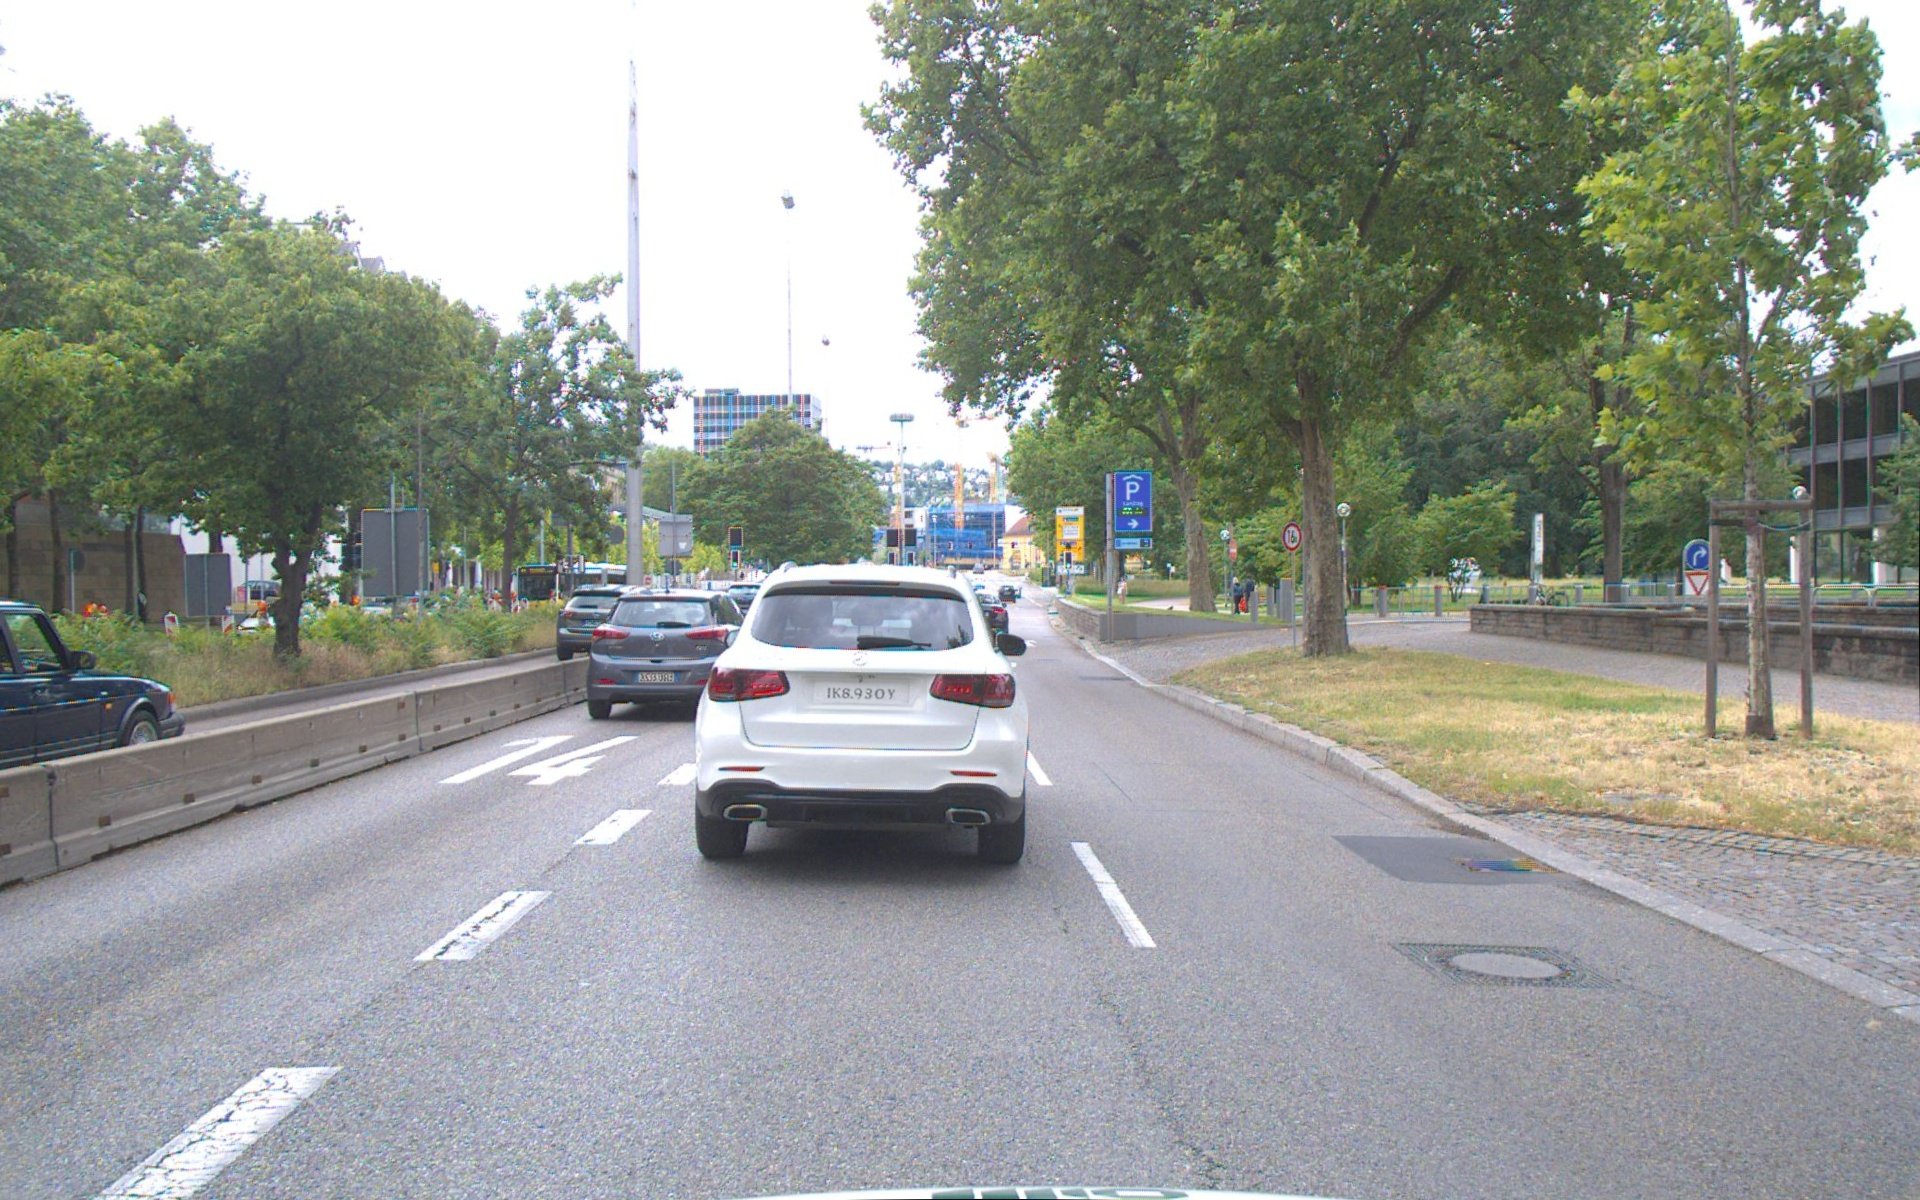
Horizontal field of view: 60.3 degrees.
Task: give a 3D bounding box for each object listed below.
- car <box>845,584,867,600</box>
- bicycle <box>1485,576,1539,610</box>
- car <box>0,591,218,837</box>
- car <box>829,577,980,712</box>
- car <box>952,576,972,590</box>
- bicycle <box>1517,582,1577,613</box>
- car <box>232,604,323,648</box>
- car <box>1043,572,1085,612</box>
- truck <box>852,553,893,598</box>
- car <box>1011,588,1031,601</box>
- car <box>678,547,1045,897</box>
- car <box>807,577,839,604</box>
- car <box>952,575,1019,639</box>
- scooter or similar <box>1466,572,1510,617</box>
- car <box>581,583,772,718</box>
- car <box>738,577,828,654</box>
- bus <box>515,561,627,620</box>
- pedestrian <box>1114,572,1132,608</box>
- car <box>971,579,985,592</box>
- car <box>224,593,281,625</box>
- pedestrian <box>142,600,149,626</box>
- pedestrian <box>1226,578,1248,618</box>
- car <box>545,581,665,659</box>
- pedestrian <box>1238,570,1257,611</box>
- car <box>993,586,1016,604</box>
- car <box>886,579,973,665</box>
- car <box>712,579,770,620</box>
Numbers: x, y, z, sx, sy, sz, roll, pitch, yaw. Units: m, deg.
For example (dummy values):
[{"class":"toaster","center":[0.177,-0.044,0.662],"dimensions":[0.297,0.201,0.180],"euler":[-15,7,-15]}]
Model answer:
[{"class":"car","center":[-8.722,-0.660,139.219],"dimensions":[1.625,1.343,3.547],"euler":[0,0,0]},{"class":"bicycle","center":[18.269,-0.220,54.807],"dimensions":[0.934,1.082,2.335],"euler":[2,0,-2]},{"class":"car","center":[-6.313,0.656,10.050],"dimensions":[1.644,1.390,4.542],"euler":[0,0,-2]},{"class":"car","center":[-0.817,0.528,21.993],"dimensions":[1.761,1.636,3.750],"euler":[0,0,-6]},{"class":"car","center":[0.180,-1.670,161.785],"dimensions":[1.907,1.343,4.016],"euler":[0,0,0]},{"class":"bicycle","center":[19.512,-0.081,55.023],"dimensions":[0.934,0.992,2.786],"euler":[2,0,-2]},{"class":"car","center":[-23.313,0.865,56.612],"dimensions":[1.627,1.407,3.802],"euler":[0,0,-2]},{"class":"car","center":[5.483,-0.419,87.297],"dimensions":[1.953,2.049,4.000],"euler":[0,0,0]},{"class":"truck","center":[-5.880,-1.641,112.293],"dimensions":[2.568,2.911,7.076],"euler":[1,0,-2]},{"class":"car","center":[6.318,-0.571,171.093],"dimensions":[1.907,1.343,4.016],"euler":[0,0,0]},{"class":"car","center":[-0.472,0.594,10.388],"dimensions":[1.751,1.653,4.437],"euler":[2,0,0]},{"class":"car","center":[-8.229,-0.569,99.291],"dimensions":[1.625,1.540,3.547],"euler":[0,0,0]},{"class":"car","center":[0.717,0.184,48.464],"dimensions":[1.788,1.783,3.999],"euler":[0,0,-2]},{"class":"scooter or similar","center":[15.537,-0.154,48.738],"dimensions":[0.622,1.267,2.225],"euler":[2,0,1]},{"class":"car","center":[-3.321,0.549,20.056],"dimensions":[1.761,1.462,4.018],"euler":[0,0,-3]},{"class":"car","center":[-4.019,0.335,38.204],"dimensions":[1.814,1.656,4.903],"euler":[0,0,-3]},{"class":"bus","center":[-23.106,-0.583,99.300],"dimensions":[3.593,3.261,14.271],"euler":[-1,0,-1]},{"class":"pedestrian","center":[9.269,-0.557,93.907],"dimensions":[0.746,2.049,0.696],"euler":[0,0,35]},{"class":"car","center":[2.474,-1.955,225.820],"dimensions":[1.723,1.698,4.167],"euler":[0,1,-1]},{"class":"car","center":[-45.276,0.563,105.921],"dimensions":[1.953,1.948,3.999],"euler":[0,0,-2]},{"class":"pedestrian","center":[-35.141,0.553,71.339],"dimensions":[0.211,1.097,0.258],"euler":[2,-1,-19]},{"class":"pedestrian","center":[11.365,-0.077,67.797],"dimensions":[0.651,1.639,0.637],"euler":[0,0,-19]},{"class":"car","center":[-7.019,0.384,33.037],"dimensions":[1.628,1.461,3.959],"euler":[0,0,-2]},{"class":"pedestrian","center":[12.337,-0.399,70.997],"dimensions":[0.743,1.755,0.699],"euler":[0,0,7]},{"class":"car","center":[3.787,-0.434,141.188],"dimensions":[1.907,1.453,4.016],"euler":[0,0,0]},{"class":"car","center":[-0.673,0.422,33.929],"dimensions":[1.626,1.668,3.545],"euler":[0,0,-4]},{"class":"car","center":[-8.150,-0.048,61.812],"dimensions":[1.740,1.445,3.999],"euler":[0,1,-1]}]
